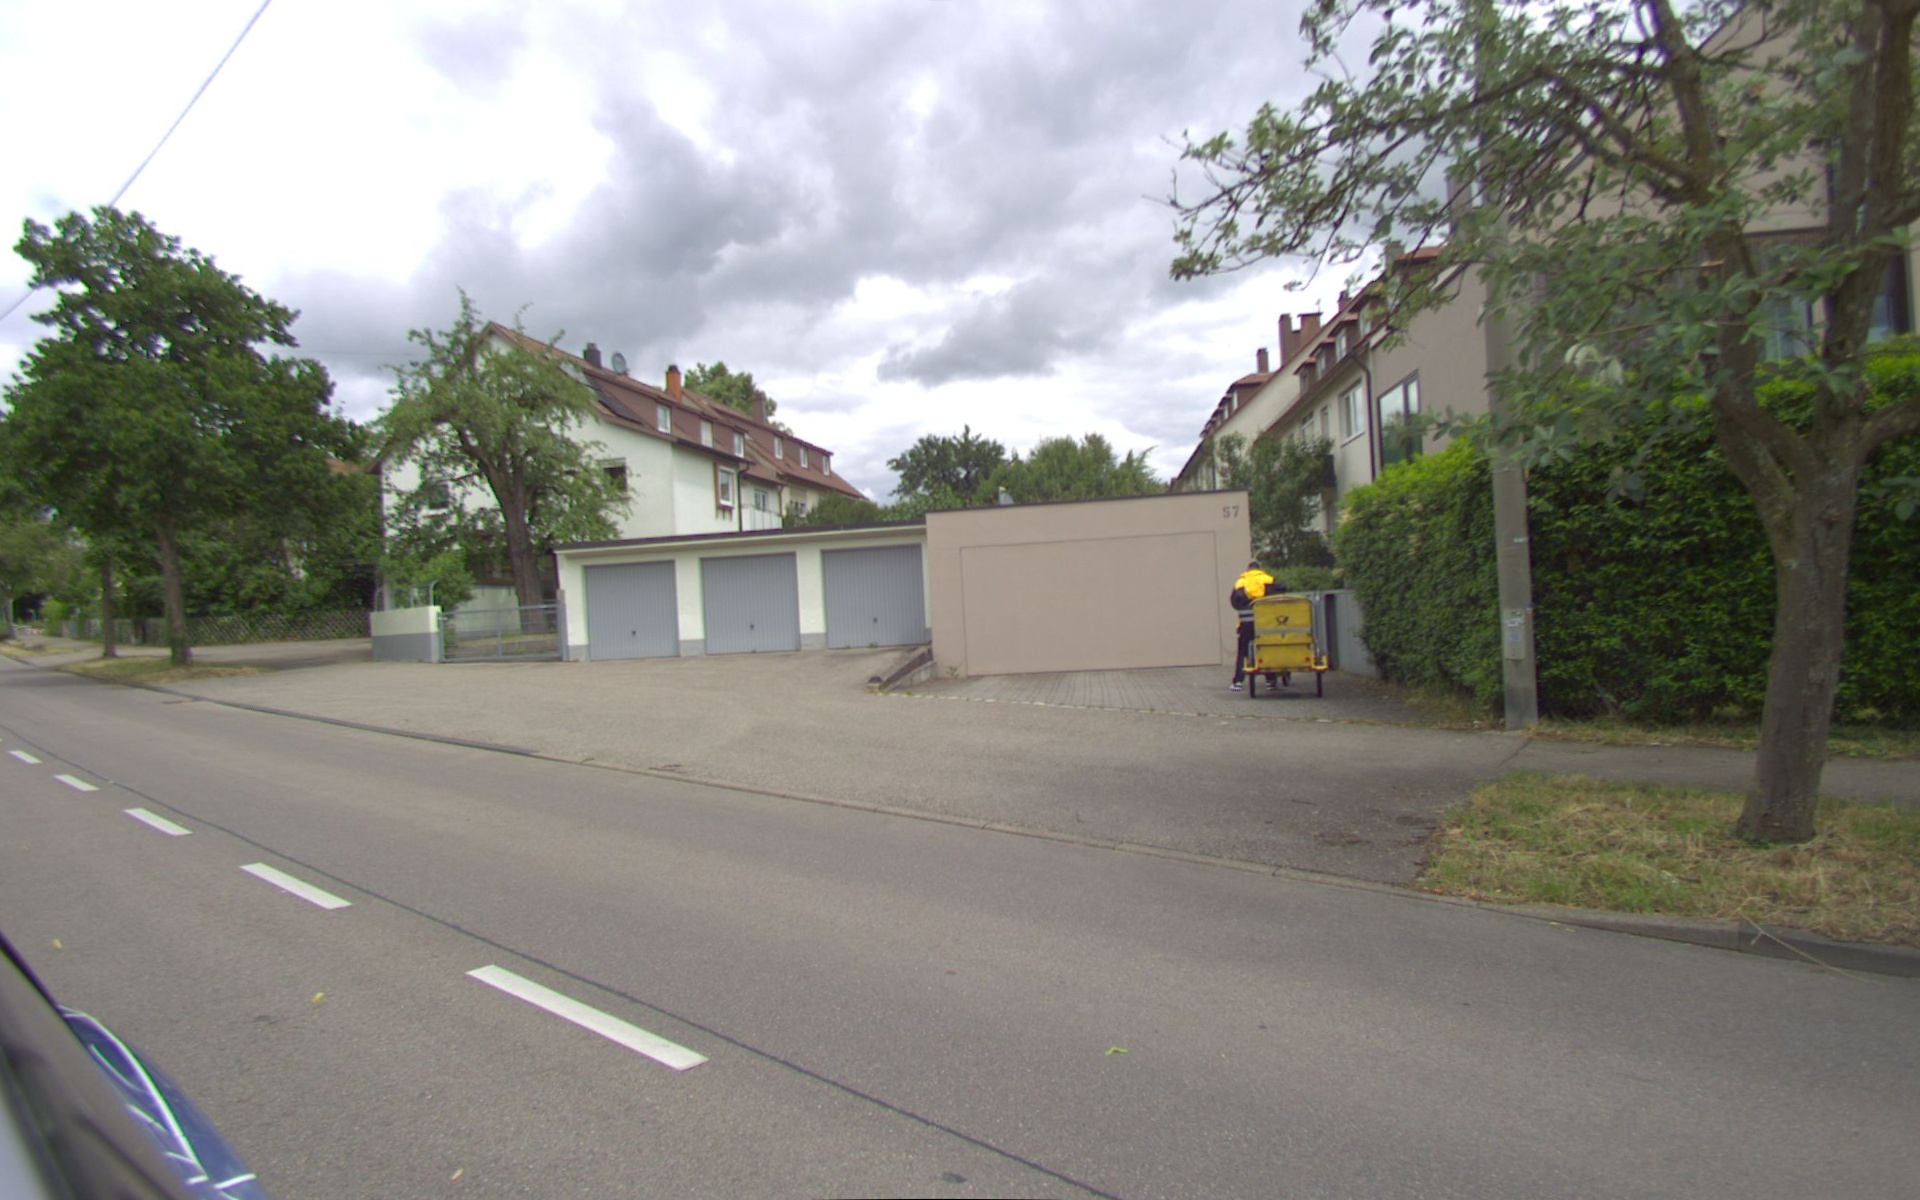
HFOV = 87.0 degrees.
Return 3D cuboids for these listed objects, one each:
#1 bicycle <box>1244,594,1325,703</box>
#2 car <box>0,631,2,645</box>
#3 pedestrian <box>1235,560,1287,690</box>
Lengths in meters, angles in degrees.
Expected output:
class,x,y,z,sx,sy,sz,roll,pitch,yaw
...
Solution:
class,x,y,z,sx,sy,sz,roll,pitch,yaw
bicycle,4.161,0.565,13.006,0.840,1.214,2.606,-3,0,18
car,-100.886,3.991,103.579,1.777,1.420,3.994,-2,0,5
pedestrian,4.021,0.325,13.510,0.597,1.688,0.638,-2,0,19
